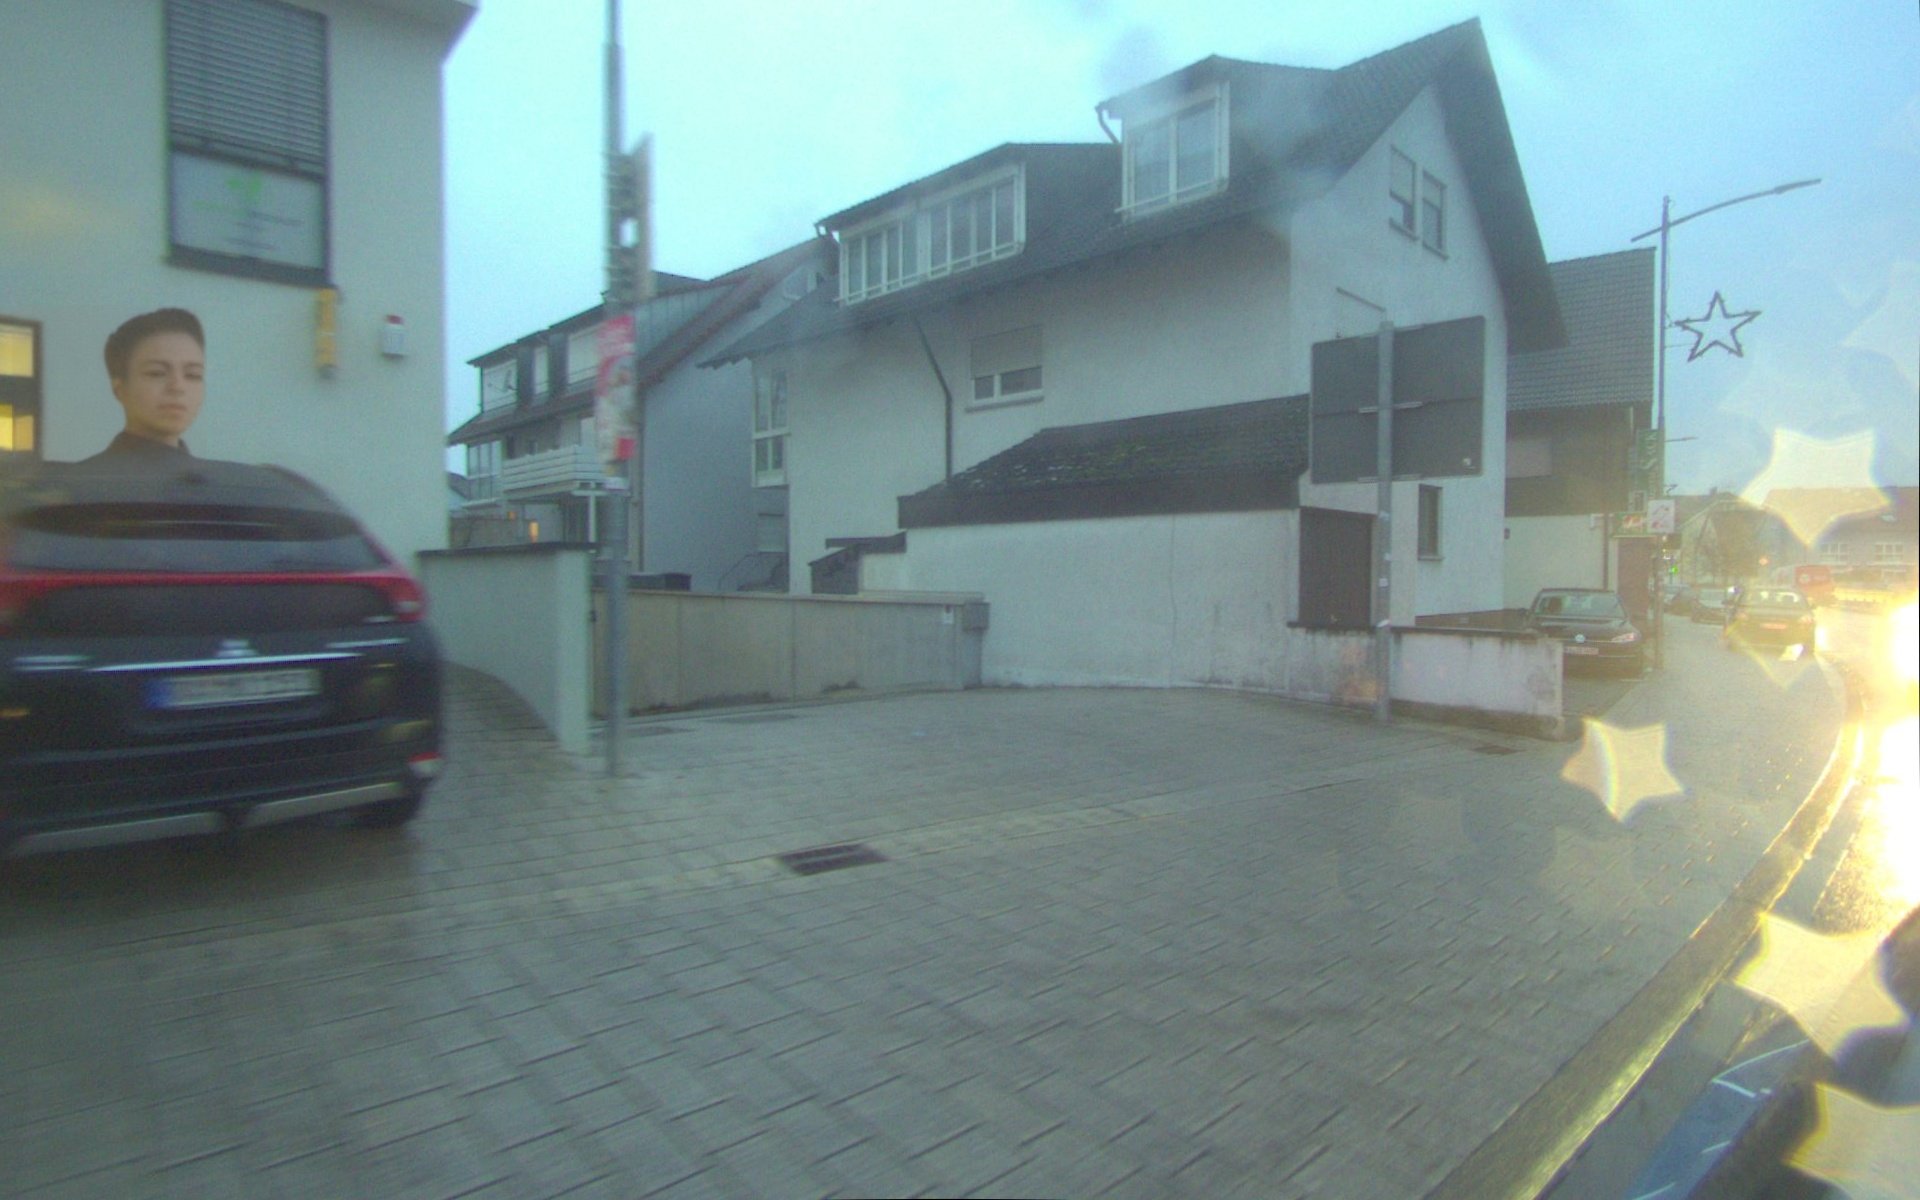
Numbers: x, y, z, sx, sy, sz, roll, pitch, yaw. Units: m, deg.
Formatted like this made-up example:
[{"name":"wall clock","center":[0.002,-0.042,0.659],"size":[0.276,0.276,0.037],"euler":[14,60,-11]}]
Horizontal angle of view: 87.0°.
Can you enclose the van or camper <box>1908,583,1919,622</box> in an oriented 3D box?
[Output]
[{"name":"van or camper","center":[35.014,0.106,35.941],"size":[1.558,1.372,3.376],"euler":[2,2,37]}]

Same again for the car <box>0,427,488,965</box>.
[{"name":"car","center":[-4.151,0.063,5.055],"size":[4.180,1.657,1.776],"euler":[11,7,43]}]

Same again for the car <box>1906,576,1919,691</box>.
[{"name":"car","center":[14.766,0.472,14.234],"size":[1.899,1.661,4.499],"euler":[-2,-1,41]}]

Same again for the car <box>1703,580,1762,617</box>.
[{"name":"car","center":[34.250,-0.096,44.969],"size":[1.646,1.472,4.189],"euler":[4,3,32]}]

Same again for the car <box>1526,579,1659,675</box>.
[{"name":"car","center":[11.155,0.386,18.014],"size":[1.757,1.410,3.872],"euler":[3,3,30]}]

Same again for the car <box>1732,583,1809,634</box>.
[{"name":"car","center":[25.384,0.241,31.760],"size":[1.641,1.433,2.692],"euler":[4,3,35]}]

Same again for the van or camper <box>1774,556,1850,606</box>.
[{"name":"van or camper","center":[49.121,-1.122,58.498],"size":[2.230,2.702,6.484],"euler":[2,2,31]}]

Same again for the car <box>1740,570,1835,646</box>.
[{"name":"car","center":[22.101,0.158,27.051],"size":[1.768,1.803,3.943],"euler":[5,4,40]}]

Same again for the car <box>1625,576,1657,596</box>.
[{"name":"car","center":[56.624,-1.200,84.160],"size":[1.797,1.583,4.261],"euler":[2,2,29]}]

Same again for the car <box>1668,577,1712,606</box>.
[{"name":"car","center":[43.134,-0.521,59.880],"size":[1.656,1.595,4.450],"euler":[1,2,30]}]

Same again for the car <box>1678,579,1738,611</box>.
[{"name":"car","center":[39.805,-0.285,53.958],"size":[1.946,1.552,4.956],"euler":[-2,0,30]}]

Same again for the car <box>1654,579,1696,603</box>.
[{"name":"car","center":[47.205,-0.630,66.888],"size":[1.693,1.469,4.151],"euler":[2,2,28]}]
